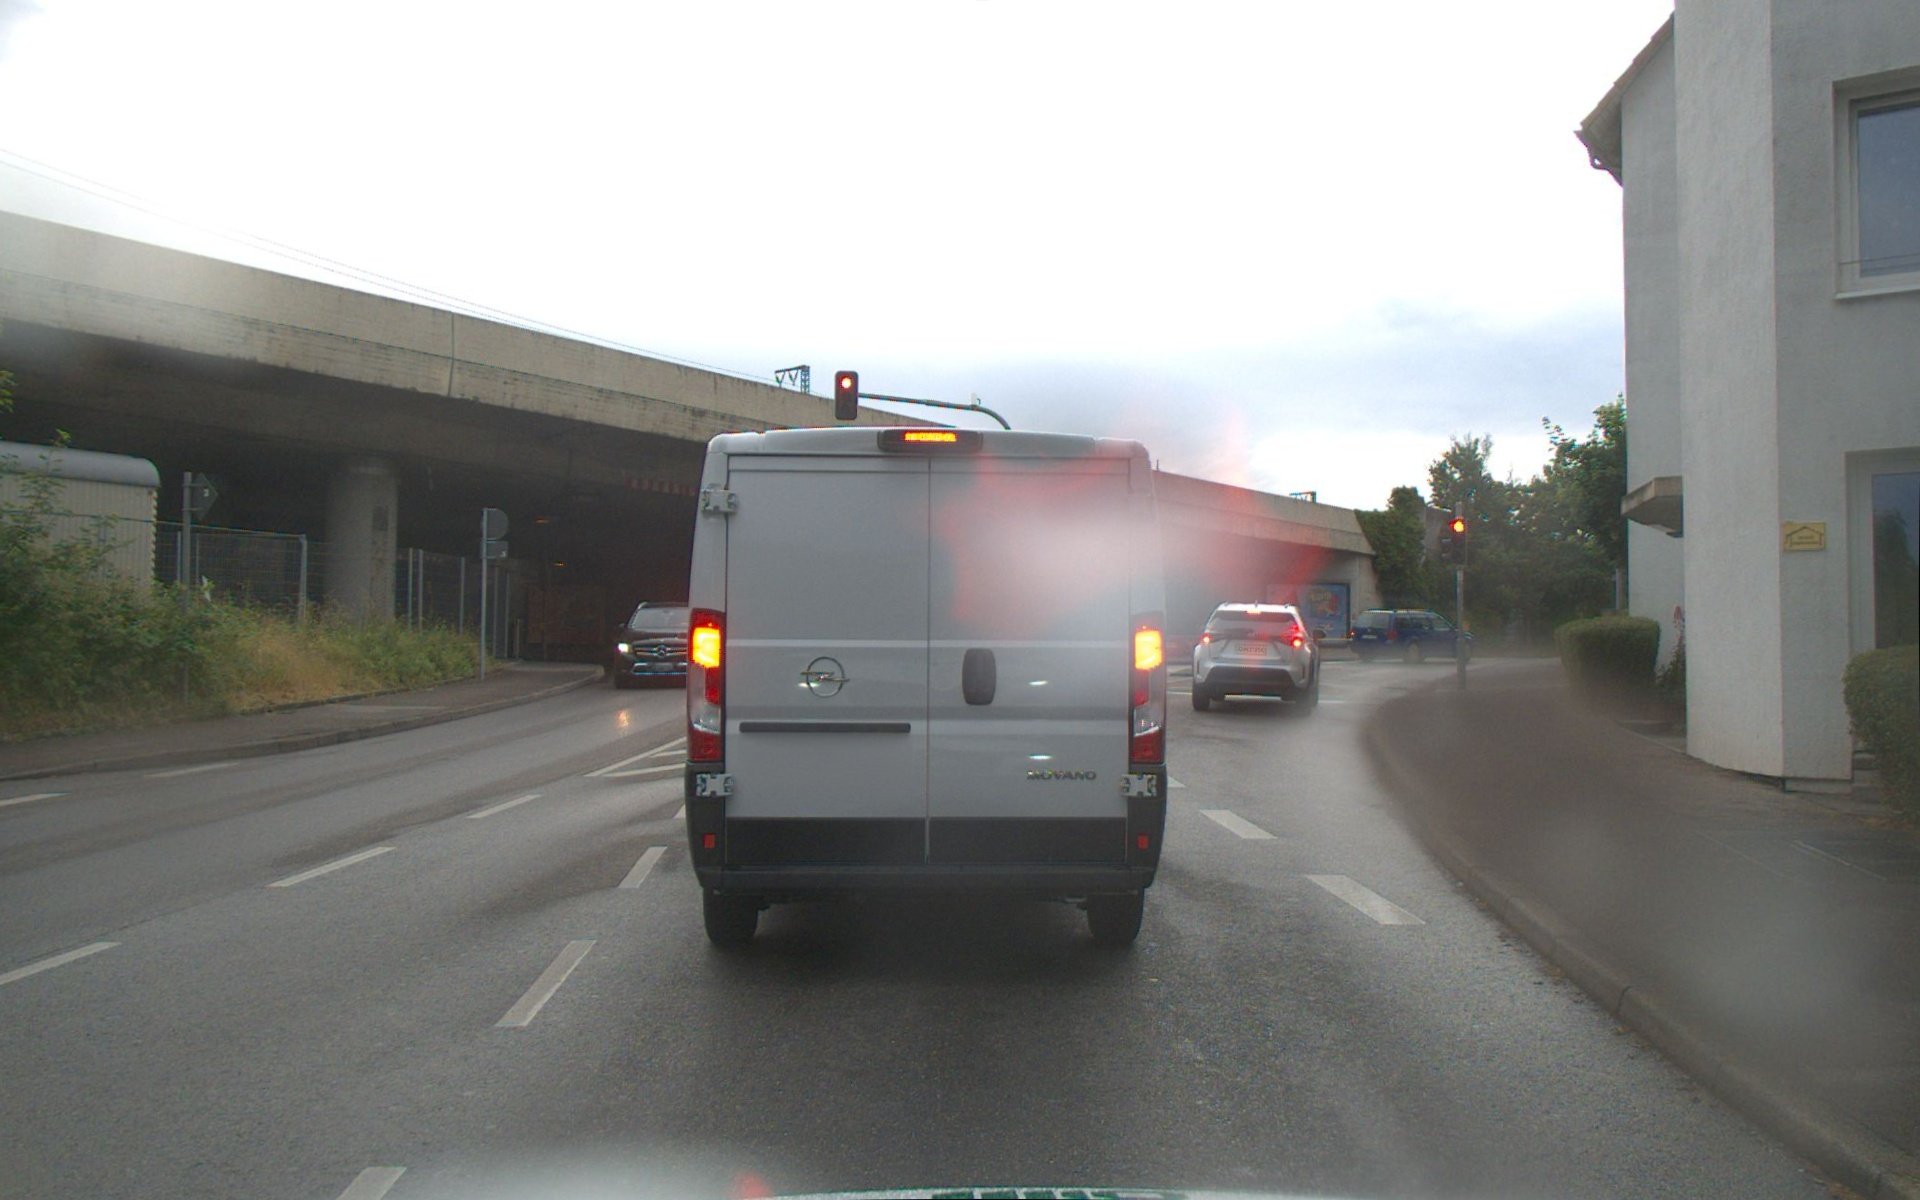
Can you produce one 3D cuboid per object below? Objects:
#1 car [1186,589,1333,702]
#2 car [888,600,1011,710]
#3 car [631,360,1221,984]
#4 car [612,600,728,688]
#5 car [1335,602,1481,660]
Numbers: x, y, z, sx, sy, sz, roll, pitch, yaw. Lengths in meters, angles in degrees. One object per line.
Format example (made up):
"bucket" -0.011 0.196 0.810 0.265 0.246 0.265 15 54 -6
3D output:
"car" 4.662 0.695 25.308 1.951 1.576 4.002 0 -2 14
"car" -0.110 0.946 28.770 1.952 1.759 4.000 0 -2 2
"car" -0.145 0.330 9.086 2.258 2.384 5.281 -1 -1 0
"car" -5.744 0.843 33.244 1.877 1.655 4.430 0 0 -5
"car" 12.556 0.887 46.315 3.957 1.545 1.973 2 -2 -37
